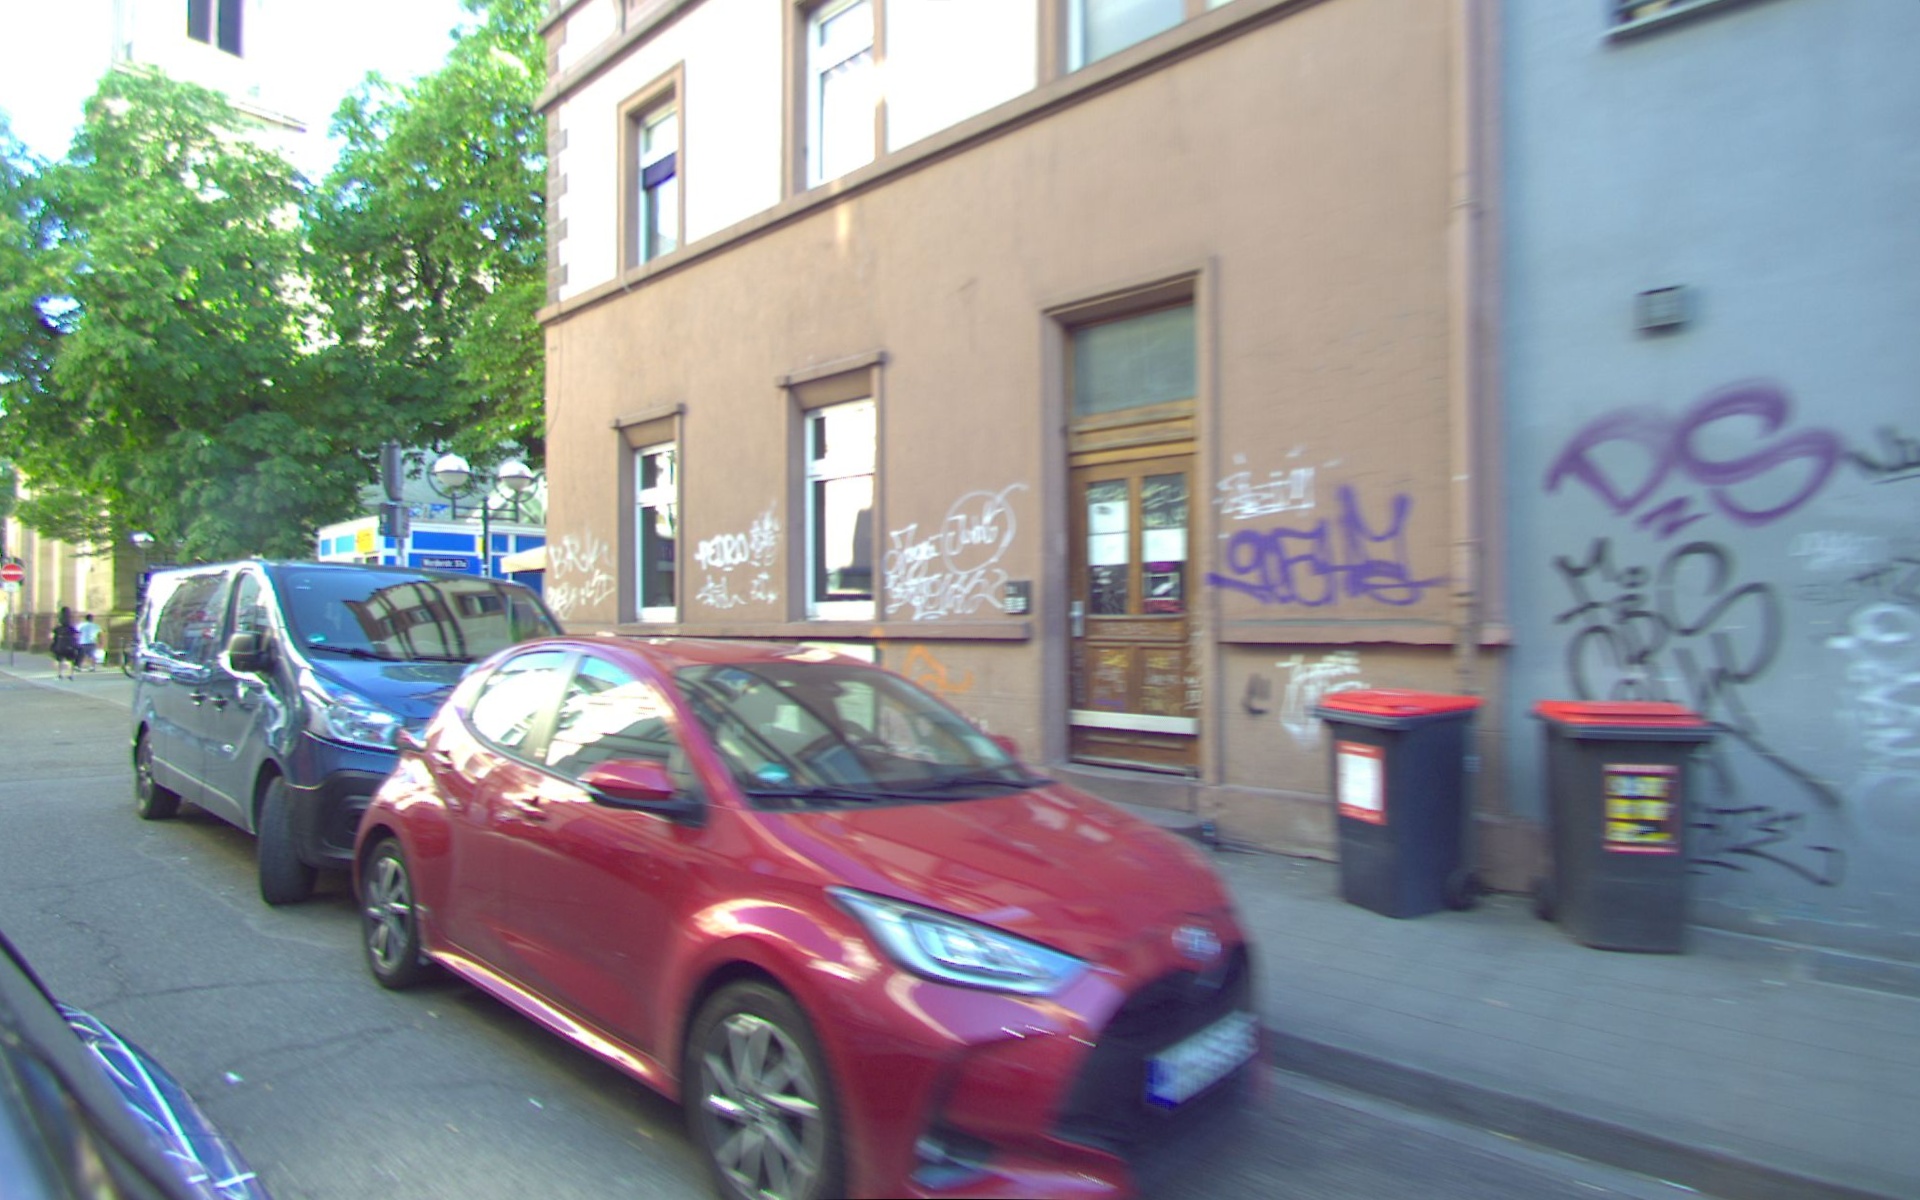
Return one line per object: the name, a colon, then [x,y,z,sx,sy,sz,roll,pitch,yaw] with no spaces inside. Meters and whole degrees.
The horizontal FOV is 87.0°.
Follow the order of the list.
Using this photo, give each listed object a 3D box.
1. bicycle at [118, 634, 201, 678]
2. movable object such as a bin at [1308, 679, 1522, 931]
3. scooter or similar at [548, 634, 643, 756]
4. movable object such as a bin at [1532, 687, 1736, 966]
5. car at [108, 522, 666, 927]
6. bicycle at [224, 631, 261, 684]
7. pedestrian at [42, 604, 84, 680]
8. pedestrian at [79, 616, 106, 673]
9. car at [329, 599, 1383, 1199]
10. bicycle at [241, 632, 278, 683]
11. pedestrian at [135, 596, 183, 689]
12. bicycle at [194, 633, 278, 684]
bicycle: [-21.085,1.465,26.684,0.346,1.073,1.673,-1,0,39]
movable object such as a bin: [2.267,0.969,5.070,0.748,1.075,0.653,0,0,-29]
scooter or similar: [-3.985,0.995,11.028,1.391,1.225,0.344,0,0,41]
movable object such as a bin: [2.994,0.964,4.558,0.501,1.075,0.728,0,0,10]
car: [-4.418,0.631,7.281,5.296,1.893,1.998,-2,-1,43]
bicycle: [-15.349,1.228,21.633,1.578,1.090,0.289,-2,-2,42]
pedestrian: [-22.829,1.051,25.756,0.720,1.887,0.709,-1,-1,41]
pedestrian: [-25.010,1.276,29.174,0.714,1.605,0.474,0,0,39]
car: [-0.699,0.832,3.799,3.868,1.533,1.732,0,-4,42]
bicycle: [-15.147,1.237,21.870,1.578,1.054,0.289,-2,-2,42]
pedestrian: [-16.409,0.854,20.732,0.697,1.847,0.640,-1,1,41]
bicycle: [-16.542,1.317,23.149,1.553,1.090,0.347,0,0,-38]
